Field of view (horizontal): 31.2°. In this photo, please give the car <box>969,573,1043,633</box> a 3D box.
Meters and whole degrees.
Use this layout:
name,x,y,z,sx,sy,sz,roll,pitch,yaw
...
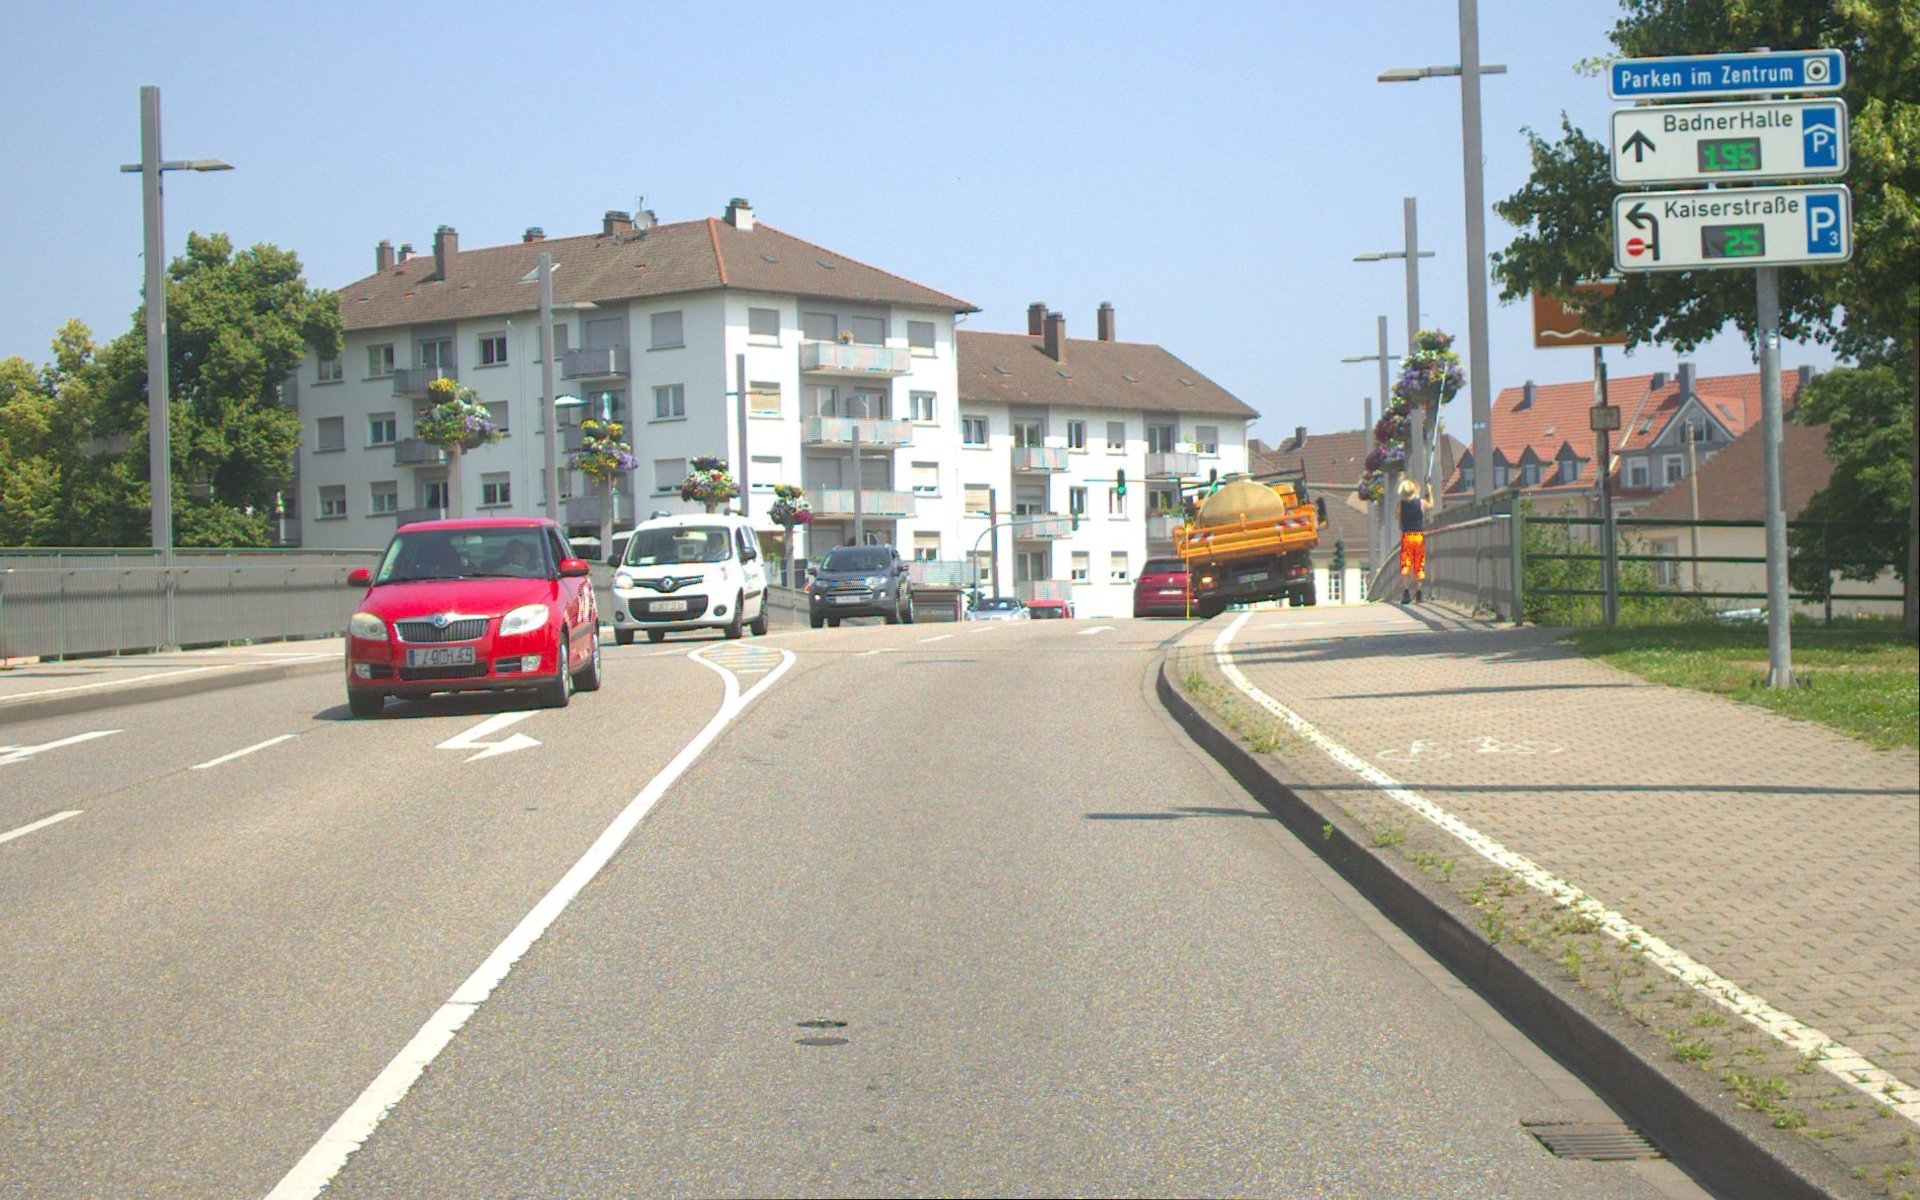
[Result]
name,x,y,z,sx,sy,sz,roll,pitch,yaw
car,1.367,0.098,100.859,1.699,1.354,4.454,4,-3,6

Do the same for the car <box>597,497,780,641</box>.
name,x,y,z,sx,sy,sz,roll,pitch,yaw
car,-3.810,-0.478,48.955,1.837,1.854,4.663,-3,1,4

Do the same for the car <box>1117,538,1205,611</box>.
name,x,y,z,sx,sy,sz,roll,pitch,yaw
car,4.813,-0.588,82.074,1.990,1.607,4.342,-2,0,4

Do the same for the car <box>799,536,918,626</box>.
name,x,y,z,sx,sy,sz,roll,pitch,yaw
car,-2.001,-0.386,68.841,1.737,1.635,3.920,-4,0,7

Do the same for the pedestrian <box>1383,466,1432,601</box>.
name,x,y,z,sx,sy,sz,roll,pitch,yaw
pedestrian,6.595,-0.972,50.665,0.546,1.953,0.673,-1,-1,-3

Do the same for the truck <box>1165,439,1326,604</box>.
name,x,y,z,sx,sy,sz,roll,pitch,yaw
truck,5.107,-1.329,60.726,2.606,2.682,5.821,-2,0,6

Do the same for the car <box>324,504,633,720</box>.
name,x,y,z,sx,sy,sz,roll,pitch,yaw
car,-3.700,0.039,27.007,1.647,1.459,3.861,-1,3,3
